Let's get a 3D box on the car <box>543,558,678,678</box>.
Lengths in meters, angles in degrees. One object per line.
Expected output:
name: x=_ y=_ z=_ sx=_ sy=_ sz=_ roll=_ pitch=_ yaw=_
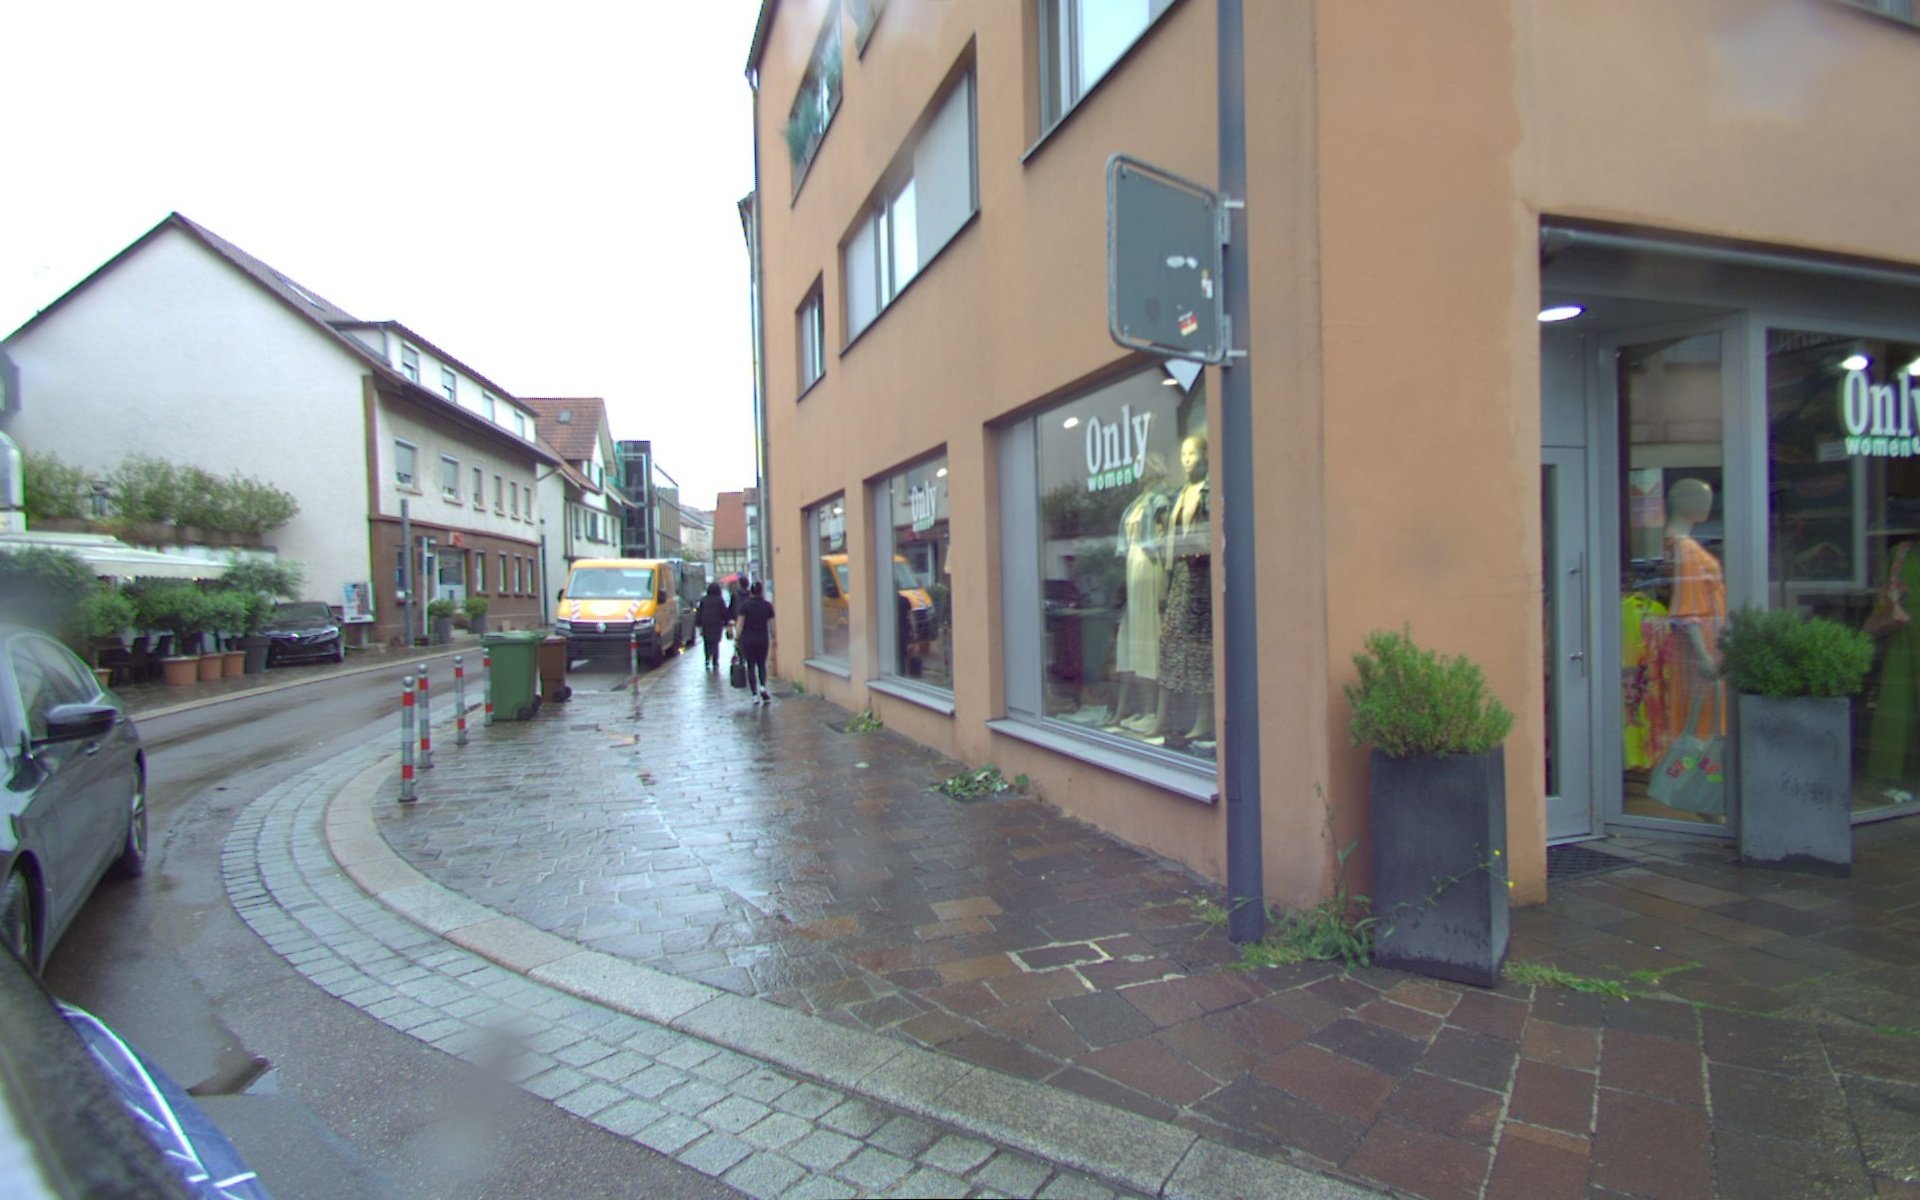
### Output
car: x=-7.480 y=0.316 z=22.249 sx=1.967 sy=2.256 sz=5.875 roll=-1 pitch=1 yaw=-11

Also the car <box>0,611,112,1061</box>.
car: x=-5.028 y=0.790 z=4.444 sx=1.918 sy=1.413 sz=4.427 roll=-2 pitch=1 yaw=-39

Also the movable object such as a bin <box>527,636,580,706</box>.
movable object such as a bin: x=-5.863 y=1.018 z=14.624 sx=0.574 sy=0.934 sz=0.482 roll=-3 pitch=1 yaw=-9

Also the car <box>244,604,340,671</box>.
car: x=-15.364 y=0.791 z=23.420 sx=1.709 sy=1.367 sz=3.948 roll=-2 pitch=1 yaw=-32

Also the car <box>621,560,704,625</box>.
car: x=-14.827 y=-0.335 z=51.096 sx=2.669 sy=2.895 sz=8.859 roll=-2 pitch=0 yaw=-8

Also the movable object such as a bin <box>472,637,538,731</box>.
movable object such as a bin: x=-5.470 y=0.994 z=12.201 sx=0.647 sy=1.044 sz=0.612 roll=-2 pitch=1 yaw=-18

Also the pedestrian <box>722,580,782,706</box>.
pedestrian: x=-2.803 y=0.556 z=13.602 sx=0.650 sy=1.622 sz=0.686 roll=-2 pitch=0 yaw=-20

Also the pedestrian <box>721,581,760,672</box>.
pedestrian: x=-4.323 y=0.499 z=19.915 sx=0.614 sy=1.725 sz=0.811 roll=-3 pitch=1 yaw=-17

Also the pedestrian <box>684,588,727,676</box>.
pedestrian: x=-4.962 y=0.604 z=19.712 sx=0.705 sy=1.651 sz=0.748 roll=-3 pitch=1 yaw=-17

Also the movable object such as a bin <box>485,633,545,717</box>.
movable object such as a bin: x=-5.895 y=0.977 z=13.437 sx=0.647 sy=1.044 sz=0.612 roll=-1 pitch=1 yaw=-18
